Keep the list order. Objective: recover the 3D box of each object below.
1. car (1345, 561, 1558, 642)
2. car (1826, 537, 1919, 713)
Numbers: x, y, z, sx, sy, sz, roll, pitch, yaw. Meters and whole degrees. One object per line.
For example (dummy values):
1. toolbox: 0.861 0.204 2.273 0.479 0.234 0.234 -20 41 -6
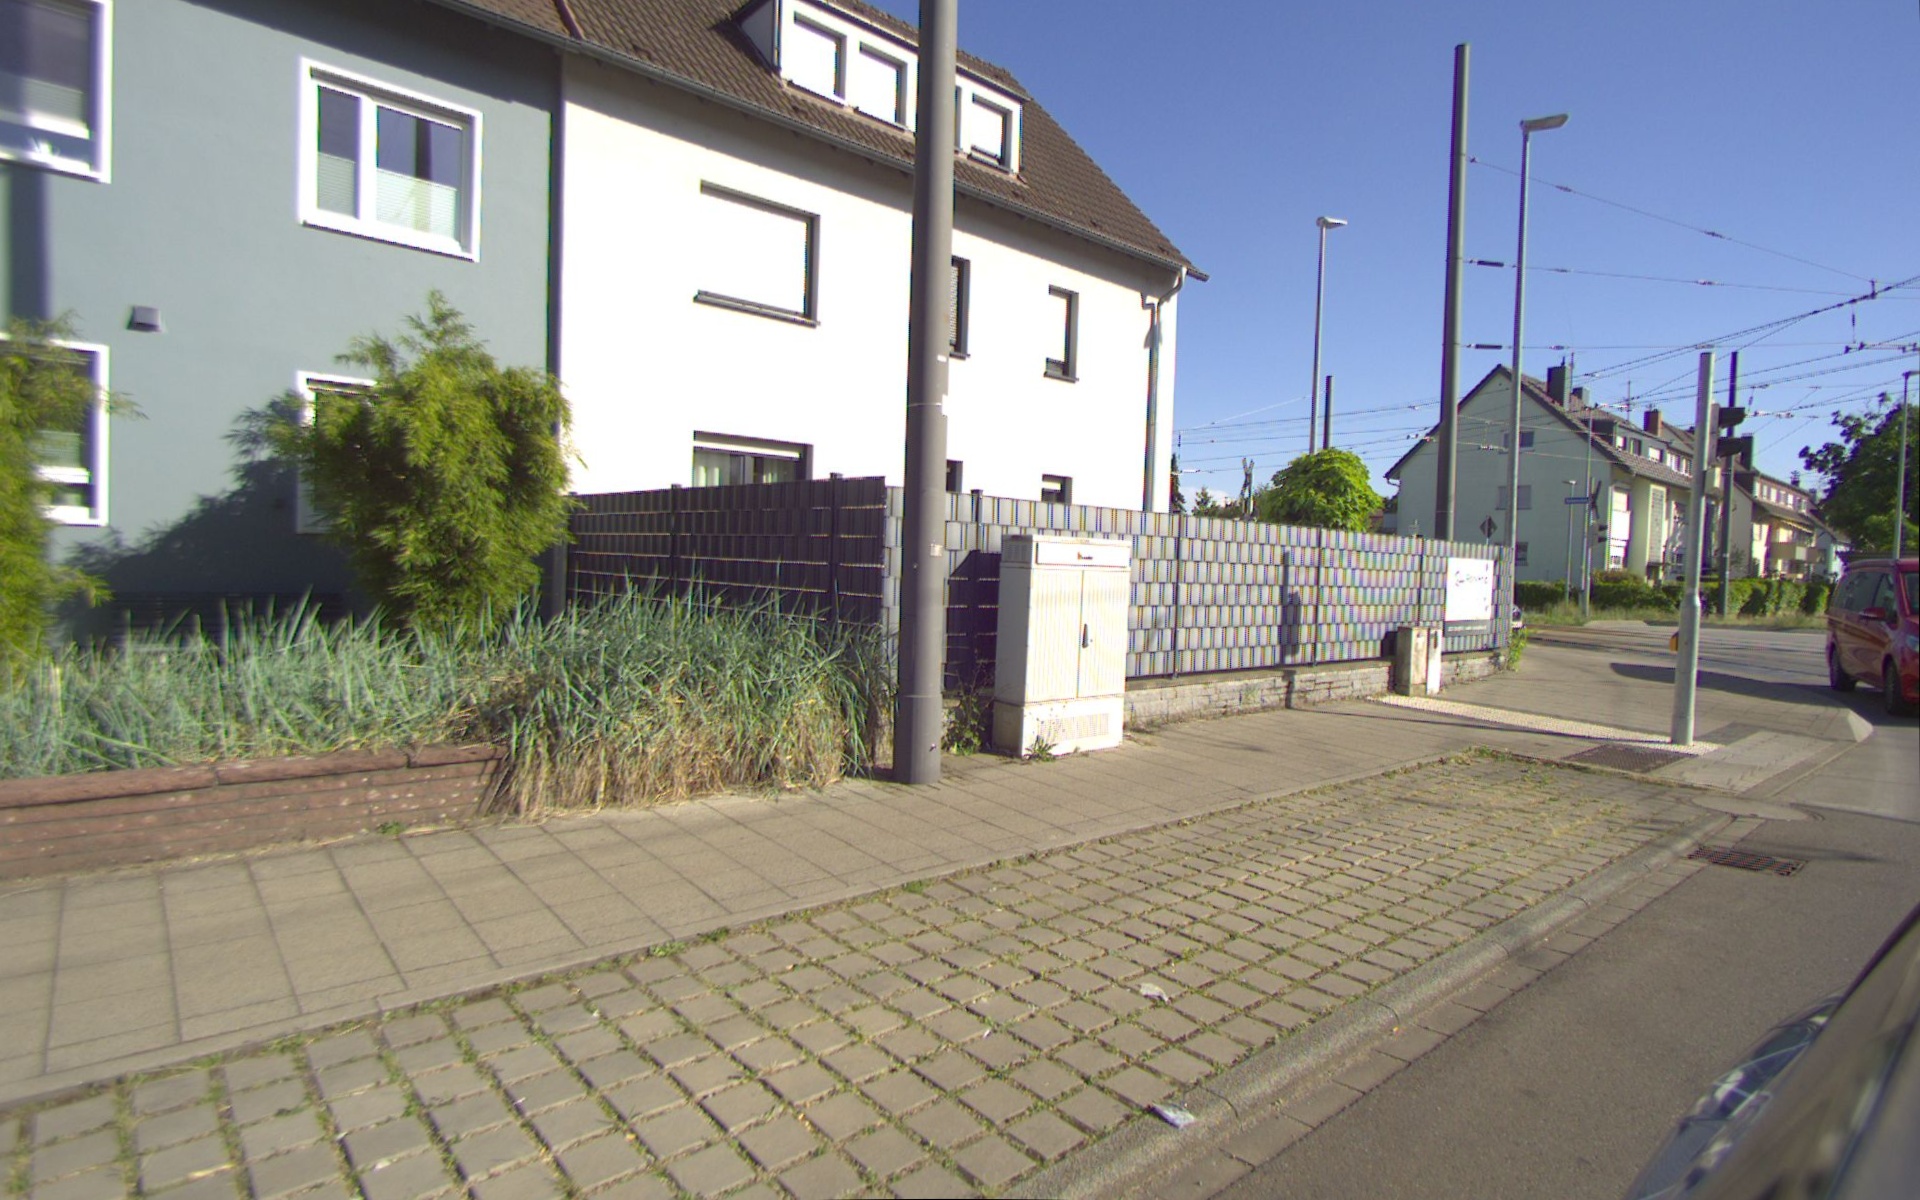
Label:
1. car: 11.223 -0.023 23.332 1.796 1.598 4.001 0 3 -36
2. car: 13.109 0.253 13.146 1.985 2.006 5.180 1 2 32
